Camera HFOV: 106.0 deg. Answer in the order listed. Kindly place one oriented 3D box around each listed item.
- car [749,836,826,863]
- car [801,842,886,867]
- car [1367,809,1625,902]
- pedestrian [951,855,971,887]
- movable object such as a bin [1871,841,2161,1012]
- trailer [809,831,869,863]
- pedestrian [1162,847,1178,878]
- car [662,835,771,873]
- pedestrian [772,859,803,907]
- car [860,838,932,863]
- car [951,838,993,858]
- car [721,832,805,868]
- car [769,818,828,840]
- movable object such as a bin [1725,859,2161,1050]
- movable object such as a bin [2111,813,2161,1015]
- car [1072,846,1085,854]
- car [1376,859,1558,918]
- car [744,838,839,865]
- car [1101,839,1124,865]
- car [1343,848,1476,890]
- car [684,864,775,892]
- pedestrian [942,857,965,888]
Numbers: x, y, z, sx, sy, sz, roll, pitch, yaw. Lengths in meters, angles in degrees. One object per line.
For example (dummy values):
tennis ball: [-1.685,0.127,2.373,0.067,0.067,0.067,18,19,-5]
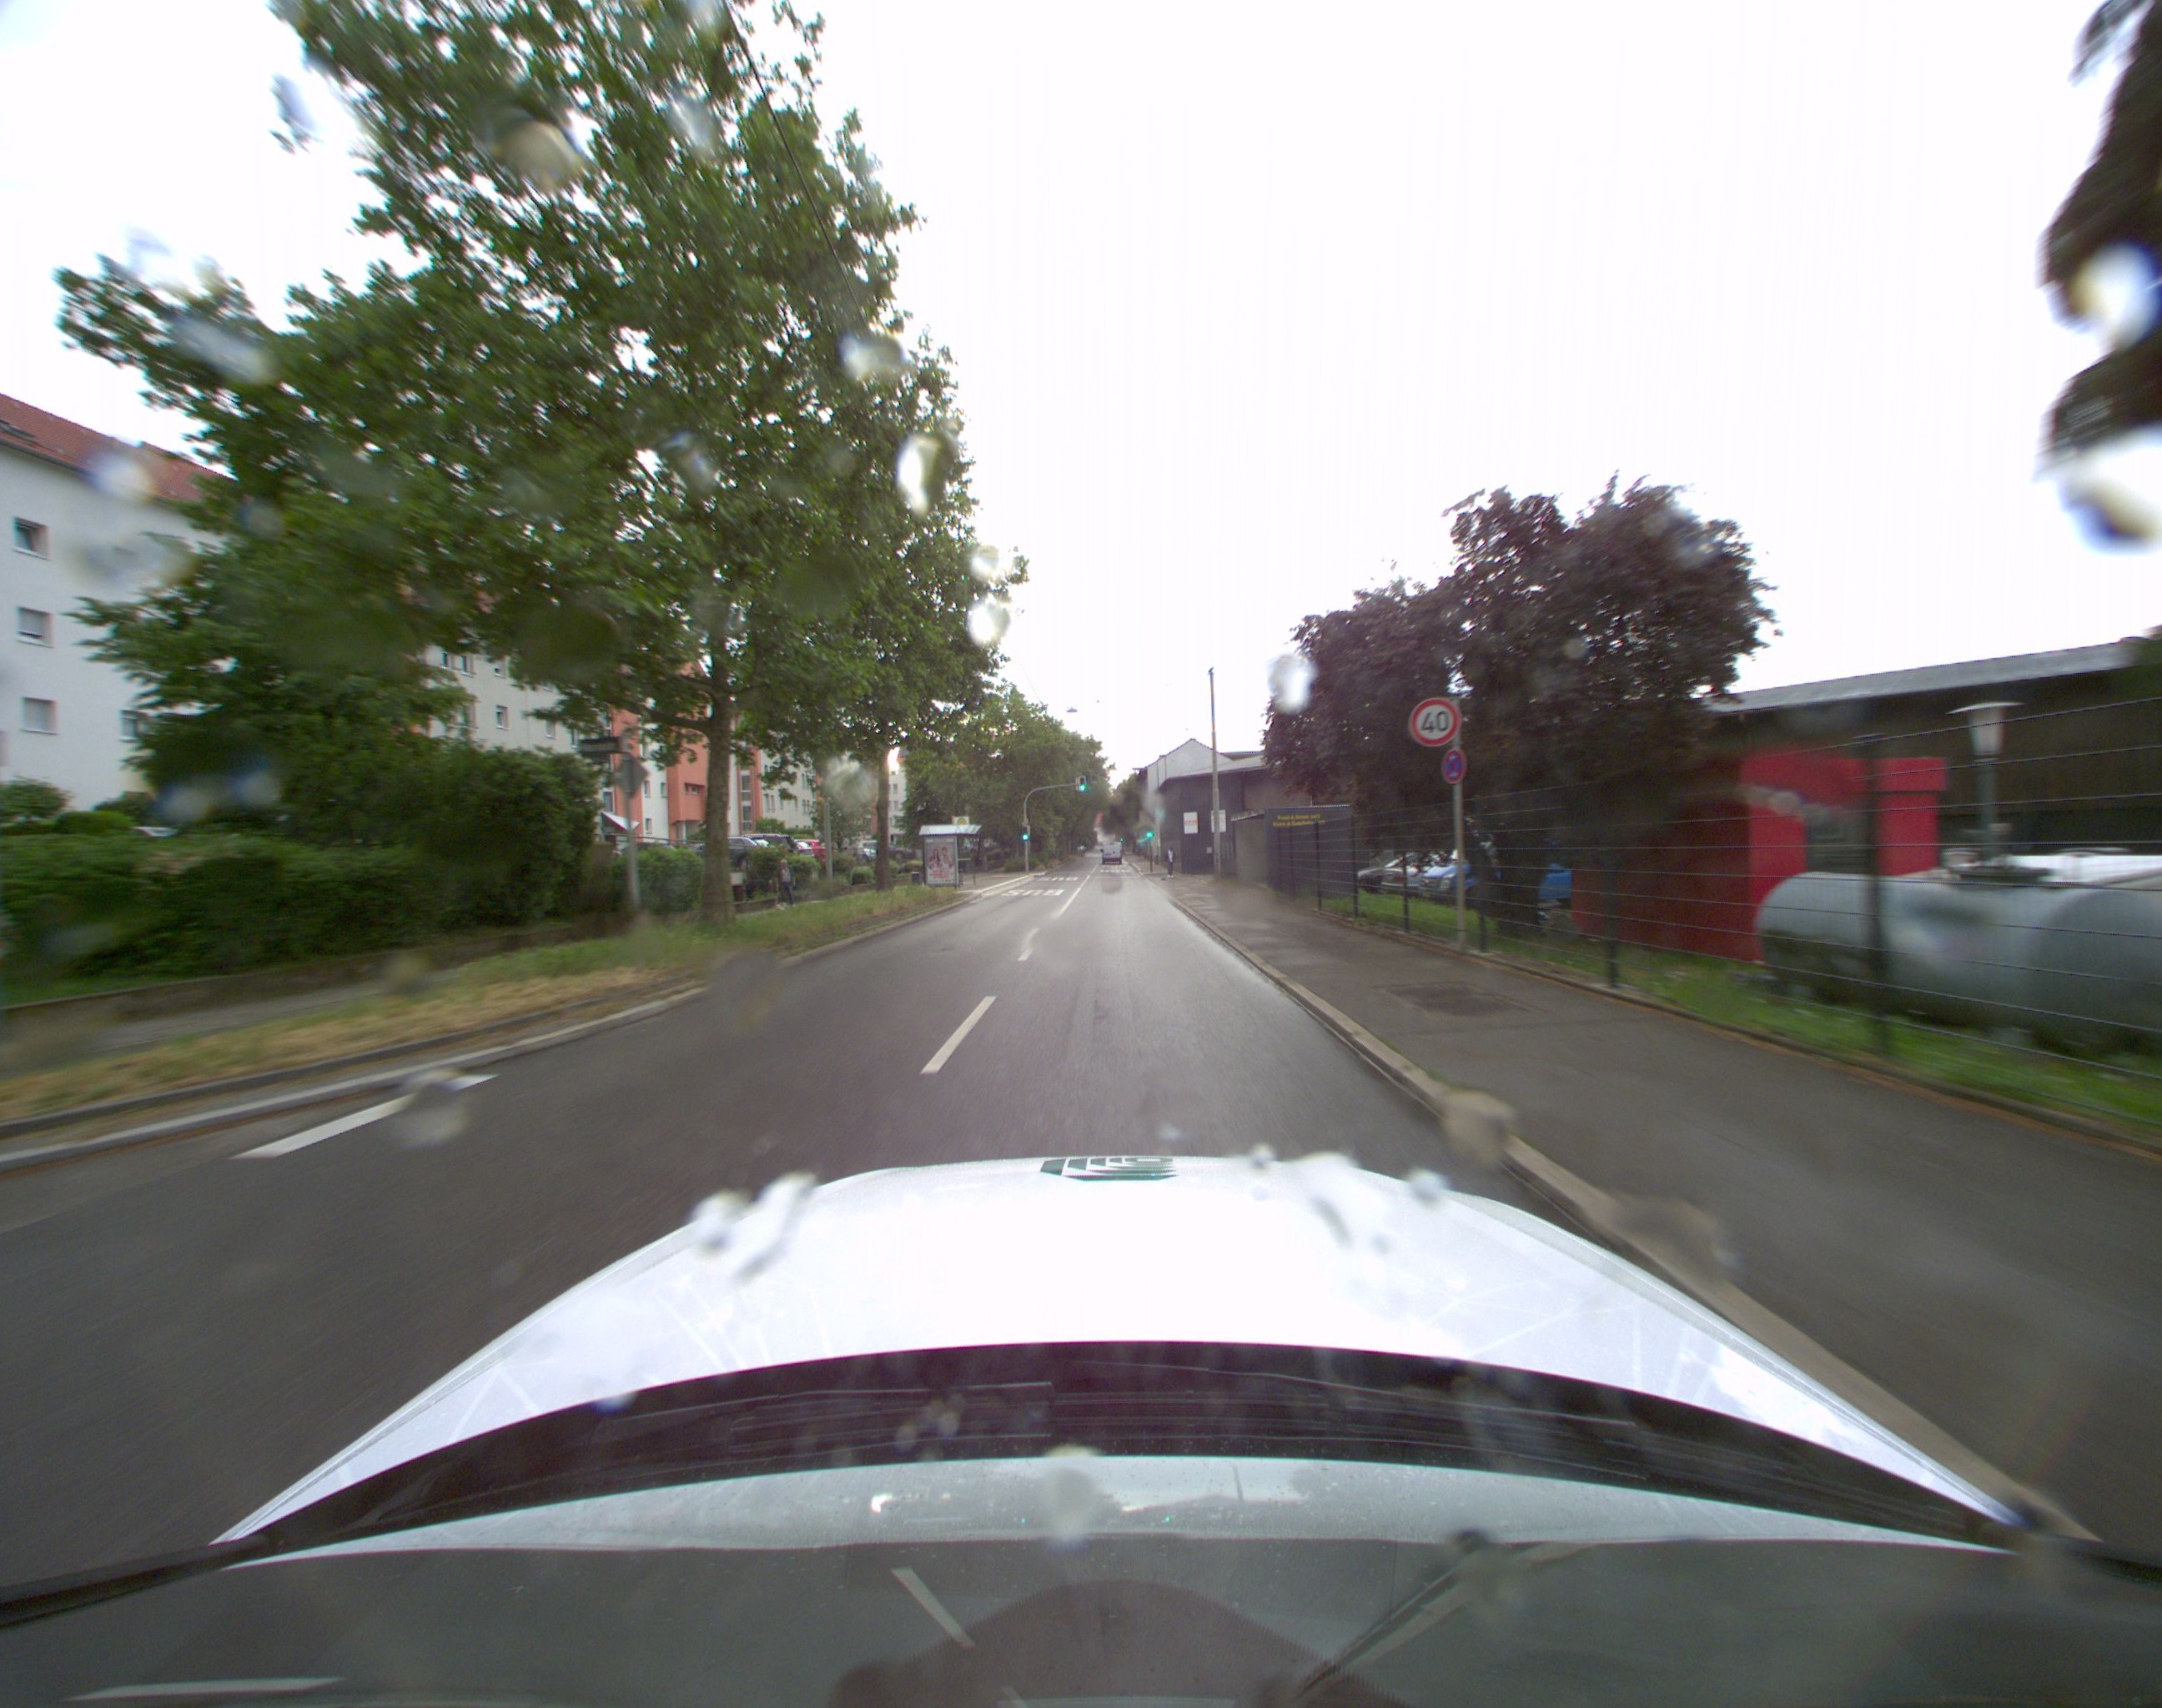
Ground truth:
car: [-13.953,-0.201,38.790,3.118,1.270,1.437,0,-1,1]
car: [-13.774,0.036,47.437,4.339,1.424,1.860,0,-1,1]
car: [10.389,0.035,20.703,5.549,2.211,2.000,0,0,0]
pedestrian: [-5.408,0.770,36.716,0.684,1.418,0.641,-4,-2,5]
movable object such as a bin: [10.817,0.659,8.534,3.321,1.577,1.891,0,0,-2]
trailer: [-12.769,-0.377,43.044,2.693,1.645,1.481,0,-1,2]
pedestrian: [4.925,0.470,44.996,0.741,1.704,0.900,0,-1,-4]
car: [-15.020,0.018,33.690,3.643,1.498,1.896,0,-1,-2]
pedestrian: [-10.026,0.977,27.832,0.753,1.611,0.834,0,-1,-3]
car: [-12.912,-0.236,56.984,4.529,1.672,2.000,0,-1,1]
car: [-11.294,-0.601,84.798,4.155,2.013,1.718,0,0,-1]
car: [-14.126,-0.164,36.273,3.118,1.543,1.437,0,-1,1]
car: [-21.243,-1.884,61.341,3.798,1.602,1.718,0,-1,0]
movable object such as a bin: [7.620,0.729,7.304,1.367,1.320,2.857,0,0,-3]
movable object such as a bin: [10.497,0.511,6.260,2.609,1.716,2.083,0,0,-1]
car: [-0.481,-0.777,165.483,2.205,1.592,4.614,0,-1,4]
car: [11.049,0.975,23.517,4.365,1.531,1.793,-2,-1,0]
car: [-14.405,-0.116,40.683,4.073,1.303,1.810,0,-1,1]
car: [3.298,-0.176,85.443,2.274,2.553,4.002,-1,-1,2]
car: [11.427,0.520,28.528,3.971,1.423,1.786,0,-1,2]
car: [-17.986,1.218,41.825,3.954,1.404,1.590,0,-1,1]
pedestrian: [-5.607,0.802,35.894,0.771,1.317,0.641,-4,-2,5]
